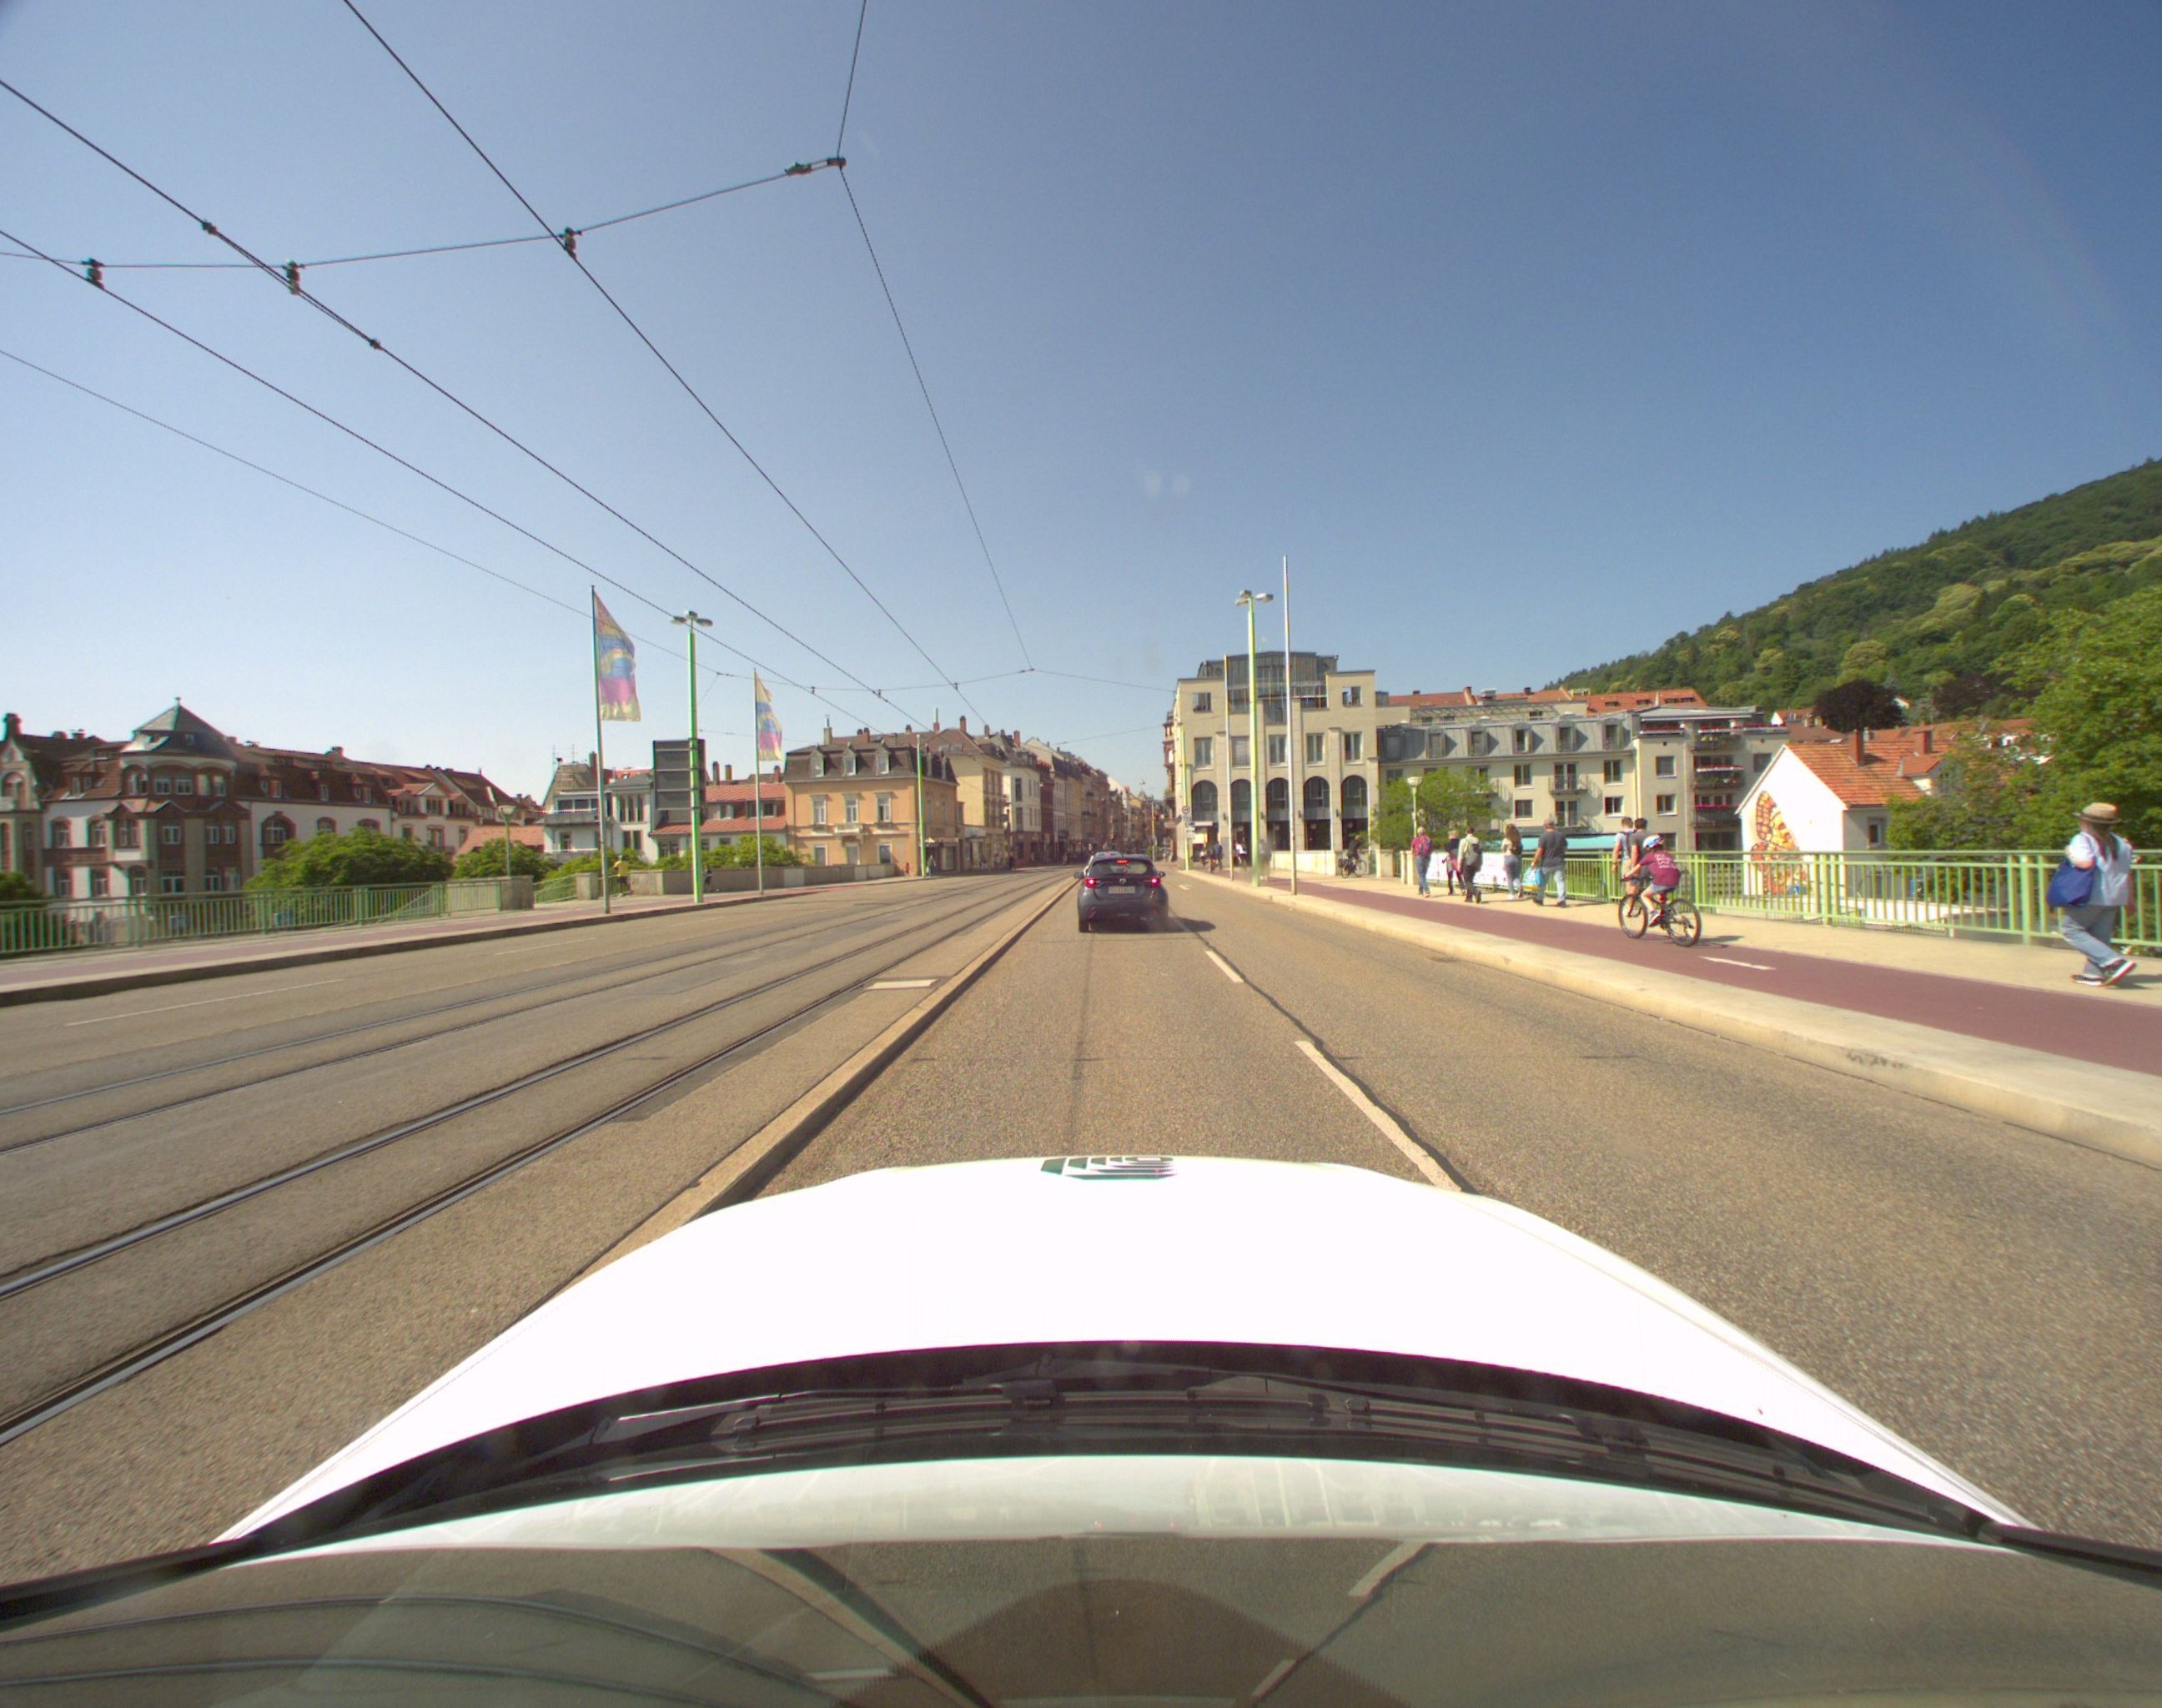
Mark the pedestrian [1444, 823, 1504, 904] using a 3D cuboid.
[{"bbox_3d":[8.728,0.203,18.122,0.752,1.718,1.073,-3,0,1],"label":"pedestrian"}]

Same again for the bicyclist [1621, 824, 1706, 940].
[{"bbox_3d":[7.352,0.340,10.300,0.532,1.383,0.669,-3,0,2],"label":"bicyclist"}]

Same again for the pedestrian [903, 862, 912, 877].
[{"bbox_3d":[-13.297,1.170,62.434,0.409,1.146,0.546,3,0,9],"label":"pedestrian"}]

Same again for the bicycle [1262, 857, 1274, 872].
[{"bbox_3d":[10.109,0.548,44.135,0.415,0.765,0.962,-3,0,2],"label":"bicycle"}]

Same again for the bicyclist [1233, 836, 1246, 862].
[{"bbox_3d":[9.102,-0.303,46.842,0.487,1.466,0.438,-3,0,-37],"label":"bicyclist"}]

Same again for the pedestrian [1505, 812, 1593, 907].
[{"bbox_3d":[9.321,0.106,16.275,0.974,1.777,1.208,-3,0,1],"label":"pedestrian"}]

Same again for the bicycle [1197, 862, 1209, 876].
[{"bbox_3d":[12.726,1.542,85.099,1.106,1.420,3.014,3,0,8],"label":"bicycle"}]

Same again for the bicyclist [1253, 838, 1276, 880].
[{"bbox_3d":[7.582,0.191,33.643,0.699,1.695,0.925,-3,0,2],"label":"bicyclist"}]

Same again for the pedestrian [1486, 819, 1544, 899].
[{"bbox_3d":[10.007,0.107,18.812,0.736,1.746,1.016,-3,0,1],"label":"pedestrian"}]

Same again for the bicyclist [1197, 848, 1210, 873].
[{"bbox_3d":[12.820,0.710,85.316,1.221,2.529,1.107,3,0,8],"label":"bicyclist"}]

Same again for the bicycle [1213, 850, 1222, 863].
[{"bbox_3d":[8.421,0.150,50.304,0.414,0.765,0.963,-3,0,5],"label":"bicycle"}]

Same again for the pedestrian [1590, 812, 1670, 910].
[{"bbox_3d":[10.108,0.128,15.024,0.736,1.718,1.016,-2,0,1],"label":"pedestrian"}]

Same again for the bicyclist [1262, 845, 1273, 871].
[{"bbox_3d":[10.097,0.232,44.133,0.420,1.383,0.444,-3,0,2],"label":"bicyclist"}]

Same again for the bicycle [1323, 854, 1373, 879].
[{"bbox_3d":[10.738,0.493,32.749,1.829,0.882,0.794,-3,0,-21],"label":"bicycle"}]

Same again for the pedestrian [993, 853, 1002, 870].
[{"bbox_3d":[-8.676,0.805,84.931,0.733,1.766,0.787,3,0,2],"label":"pedestrian"}]

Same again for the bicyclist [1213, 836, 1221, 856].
[{"bbox_3d":[8.388,-0.493,50.290,0.420,1.256,0.444,-3,0,5],"label":"bicyclist"}]

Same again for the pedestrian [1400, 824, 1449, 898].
[{"bbox_3d":[8.709,0.177,20.681,0.736,1.802,1.016,-3,0,1],"label":"pedestrian"}]

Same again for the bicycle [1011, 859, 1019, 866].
[{"bbox_3d":[-7.459,0.983,91.724,0.618,0.716,1.772,3,0,2],"label":"bicycle"}]

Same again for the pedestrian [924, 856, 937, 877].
[{"bbox_3d":[-11.951,1.015,64.747,0.758,1.654,0.713,3,0,8],"label":"pedestrian"}]

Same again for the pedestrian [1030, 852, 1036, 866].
[{"bbox_3d":[-6.172,0.638,104.958,0.733,1.766,0.787,-2,1,2],"label":"pedestrian"}]

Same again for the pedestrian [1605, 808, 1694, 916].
[{"bbox_3d":[9.636,0.130,13.847,0.736,1.718,1.016,-3,0,1],"label":"pedestrian"}]

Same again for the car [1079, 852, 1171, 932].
[{"bbox_3d":[0.874,0.708,16.967,1.713,1.473,3.659,0,0,2],"label":"car"}]

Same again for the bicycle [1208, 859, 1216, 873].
[{"bbox_3d":[7.561,0.709,47.025,0.414,0.765,1.208,-3,0,7],"label":"bicycle"}]

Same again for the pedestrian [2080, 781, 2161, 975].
[{"bbox_3d":[9.671,0.181,6.922,0.944,1.662,1.083,-3,0,1],"label":"pedestrian"}]

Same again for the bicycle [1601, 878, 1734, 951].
[{"bbox_3d":[7.381,0.732,10.350,0.512,0.765,1.661,-3,0,2],"label":"bicycle"}]

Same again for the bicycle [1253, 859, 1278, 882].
[{"bbox_3d":[7.608,0.657,33.648,0.701,0.882,1.526,-3,0,3],"label":"bicycle"}]

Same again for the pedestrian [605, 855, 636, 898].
[{"bbox_3d":[-19.824,0.954,35.080,0.740,1.781,0.804,-3,0,11],"label":"pedestrian"}]

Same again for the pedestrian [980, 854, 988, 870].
[{"bbox_3d":[-9.576,0.781,80.179,0.646,1.602,0.566,3,2,2],"label":"pedestrian"}]

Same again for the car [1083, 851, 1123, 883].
[{"bbox_3d":[1.110,0.623,40.570,1.890,1.530,4.002,0,0,2],"label":"car"}]

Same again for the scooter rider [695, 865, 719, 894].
[{"bbox_3d":[-17.408,1.194,37.917,0.763,1.315,0.600,2,0,13],"label":"scooter rider"}]

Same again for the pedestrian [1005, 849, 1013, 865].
[{"bbox_3d":[-8.121,0.352,92.040,0.734,1.766,0.787,3,0,1],"label":"pedestrian"}]

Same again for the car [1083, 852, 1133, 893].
[{"bbox_3d":[1.077,0.700,32.565,1.890,1.530,4.002,0,0,2],"label":"car"}]

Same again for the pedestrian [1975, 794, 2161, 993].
[{"bbox_3d":[8.442,0.297,6.811,0.826,1.530,0.933,-3,0,1],"label":"pedestrian"}]

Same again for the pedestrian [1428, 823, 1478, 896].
[{"bbox_3d":[9.515,0.135,20.844,0.736,1.777,1.016,-3,0,1],"label":"pedestrian"}]

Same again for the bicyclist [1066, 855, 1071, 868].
[{"bbox_3d":[-1.631,0.938,104.567,0.625,1.650,0.622,0,1,2],"label":"bicyclist"}]

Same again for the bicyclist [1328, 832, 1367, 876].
[{"bbox_3d":[10.724,0.011,32.752,0.925,1.695,1.135,-2,0,-21],"label":"bicyclist"}]

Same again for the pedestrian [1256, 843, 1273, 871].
[{"bbox_3d":[10.937,0.173,48.435,0.736,1.615,1.016,3,0,1],"label":"pedestrian"}]

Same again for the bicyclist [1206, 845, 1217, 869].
[{"bbox_3d":[7.519,0.182,47.010,0.535,1.316,0.673,-4,0,6],"label":"bicyclist"}]

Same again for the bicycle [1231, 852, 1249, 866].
[{"bbox_3d":[9.160,0.302,46.814,0.420,0.765,0.951,-3,0,-37],"label":"bicycle"}]
